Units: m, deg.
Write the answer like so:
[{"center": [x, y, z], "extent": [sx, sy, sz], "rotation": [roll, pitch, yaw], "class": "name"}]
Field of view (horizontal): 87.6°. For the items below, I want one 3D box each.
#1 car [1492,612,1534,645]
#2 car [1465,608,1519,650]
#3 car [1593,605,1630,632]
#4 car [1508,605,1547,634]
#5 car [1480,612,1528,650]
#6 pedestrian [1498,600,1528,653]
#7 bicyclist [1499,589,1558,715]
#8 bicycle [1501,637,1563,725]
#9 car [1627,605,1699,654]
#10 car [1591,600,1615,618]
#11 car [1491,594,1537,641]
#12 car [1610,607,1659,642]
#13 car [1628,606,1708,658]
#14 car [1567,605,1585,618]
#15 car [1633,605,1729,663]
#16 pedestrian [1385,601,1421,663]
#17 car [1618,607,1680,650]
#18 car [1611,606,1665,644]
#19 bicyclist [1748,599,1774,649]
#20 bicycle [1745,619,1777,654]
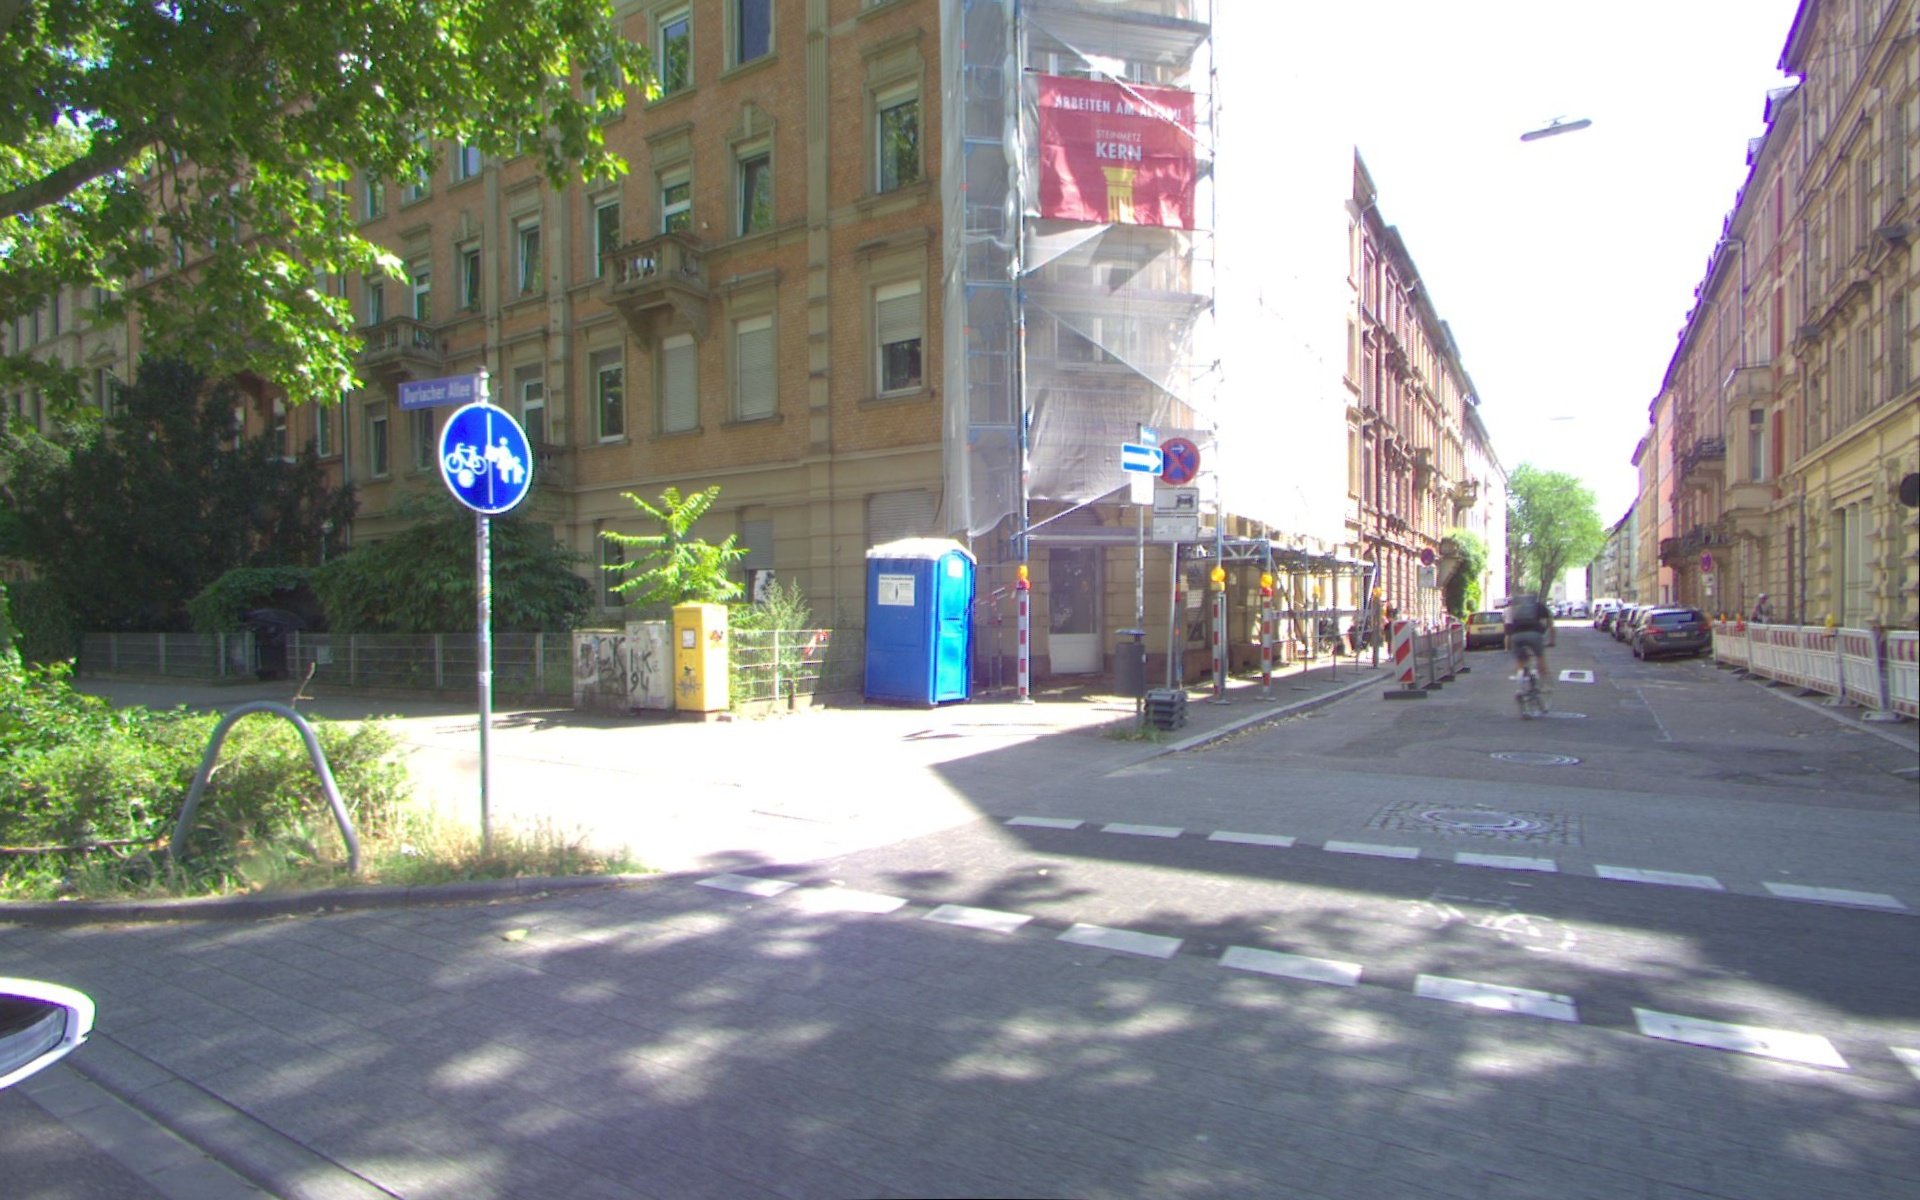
[{"center": [26.858, 1.349, 48.604], "extent": [1.702, 1.549, 3.478], "rotation": [-1, -1, 31], "class": "car"}, {"center": [20.737, 1.100, 38.966], "extent": [1.702, 1.549, 3.478], "rotation": [-1, -1, 31], "class": "car"}, {"center": [44.207, 1.258, 67.977], "extent": [1.971, 1.761, 3.980], "rotation": [-1, -1, 31], "class": "car"}, {"center": [35.590, 1.197, 62.748], "extent": [1.887, 1.732, 4.139], "rotation": [-1, -1, 33], "class": "car"}, {"center": [23.747, 1.317, 43.677], "extent": [1.702, 1.549, 3.479], "rotation": [-1, -1, 30], "class": "car"}, {"center": [19.326, 0.914, 35.012], "extent": [0.922, 1.822, 1.034], "rotation": [0, 0, 29], "class": "pedestrian"}, {"center": [7.681, 0.681, 13.519], "extent": [0.616, 1.644, 0.690], "rotation": [0, 0, 36], "class": "bicyclist"}, {"center": [7.805, 1.055, 13.624], "extent": [0.526, 1.062, 1.914], "rotation": [-1, 0, 36], "class": "bicycle"}, {"center": [26.877, 1.097, 38.393], "extent": [1.971, 1.761, 3.980], "rotation": [-1, -1, 31], "class": "car"}, {"center": [64.703, 0.906, 100.824], "extent": [1.971, 1.761, 3.980], "rotation": [-1, -1, 31], "class": "car"}, {"center": [29.423, 0.922, 53.128], "extent": [1.887, 2.405, 4.224], "rotation": [-1, -1, 33], "class": "car"}, {"center": [35.839, 1.275, 53.298], "extent": [1.971, 1.761, 3.980], "rotation": [-1, -1, 31], "class": "car"}, {"center": [24.206, 1.058, 34.356], "extent": [1.971, 1.661, 3.980], "rotation": [-1, -1, 31], "class": "car"}, {"center": [81.409, 1.533, 132.332], "extent": [1.971, 1.761, 3.980], "rotation": [-1, -1, 31], "class": "car"}, {"center": [20.874, 0.945, 29.137], "extent": [1.971, 1.572, 3.980], "rotation": [-1, -1, 31], "class": "car"}, {"center": [12.584, 0.911, 28.487], "extent": [0.843, 1.748, 0.834], "rotation": [-1, 0, 19], "class": "pedestrian"}, {"center": [29.658, 1.201, 43.183], "extent": [1.971, 1.761, 3.980], "rotation": [-1, -1, 31], "class": "car"}, {"center": [32.936, 1.187, 48.730], "extent": [1.971, 1.761, 3.980], "rotation": [-1, -1, 31], "class": "car"}, {"center": [23.865, 0.708, 29.833], "extent": [0.525, 1.472, 0.459], "rotation": [0, 0, 29], "class": "bicyclist"}, {"center": [23.871, 1.072, 29.856], "extent": [0.530, 0.991, 1.304], "rotation": [0, 0, 28], "class": "bicycle"}]
